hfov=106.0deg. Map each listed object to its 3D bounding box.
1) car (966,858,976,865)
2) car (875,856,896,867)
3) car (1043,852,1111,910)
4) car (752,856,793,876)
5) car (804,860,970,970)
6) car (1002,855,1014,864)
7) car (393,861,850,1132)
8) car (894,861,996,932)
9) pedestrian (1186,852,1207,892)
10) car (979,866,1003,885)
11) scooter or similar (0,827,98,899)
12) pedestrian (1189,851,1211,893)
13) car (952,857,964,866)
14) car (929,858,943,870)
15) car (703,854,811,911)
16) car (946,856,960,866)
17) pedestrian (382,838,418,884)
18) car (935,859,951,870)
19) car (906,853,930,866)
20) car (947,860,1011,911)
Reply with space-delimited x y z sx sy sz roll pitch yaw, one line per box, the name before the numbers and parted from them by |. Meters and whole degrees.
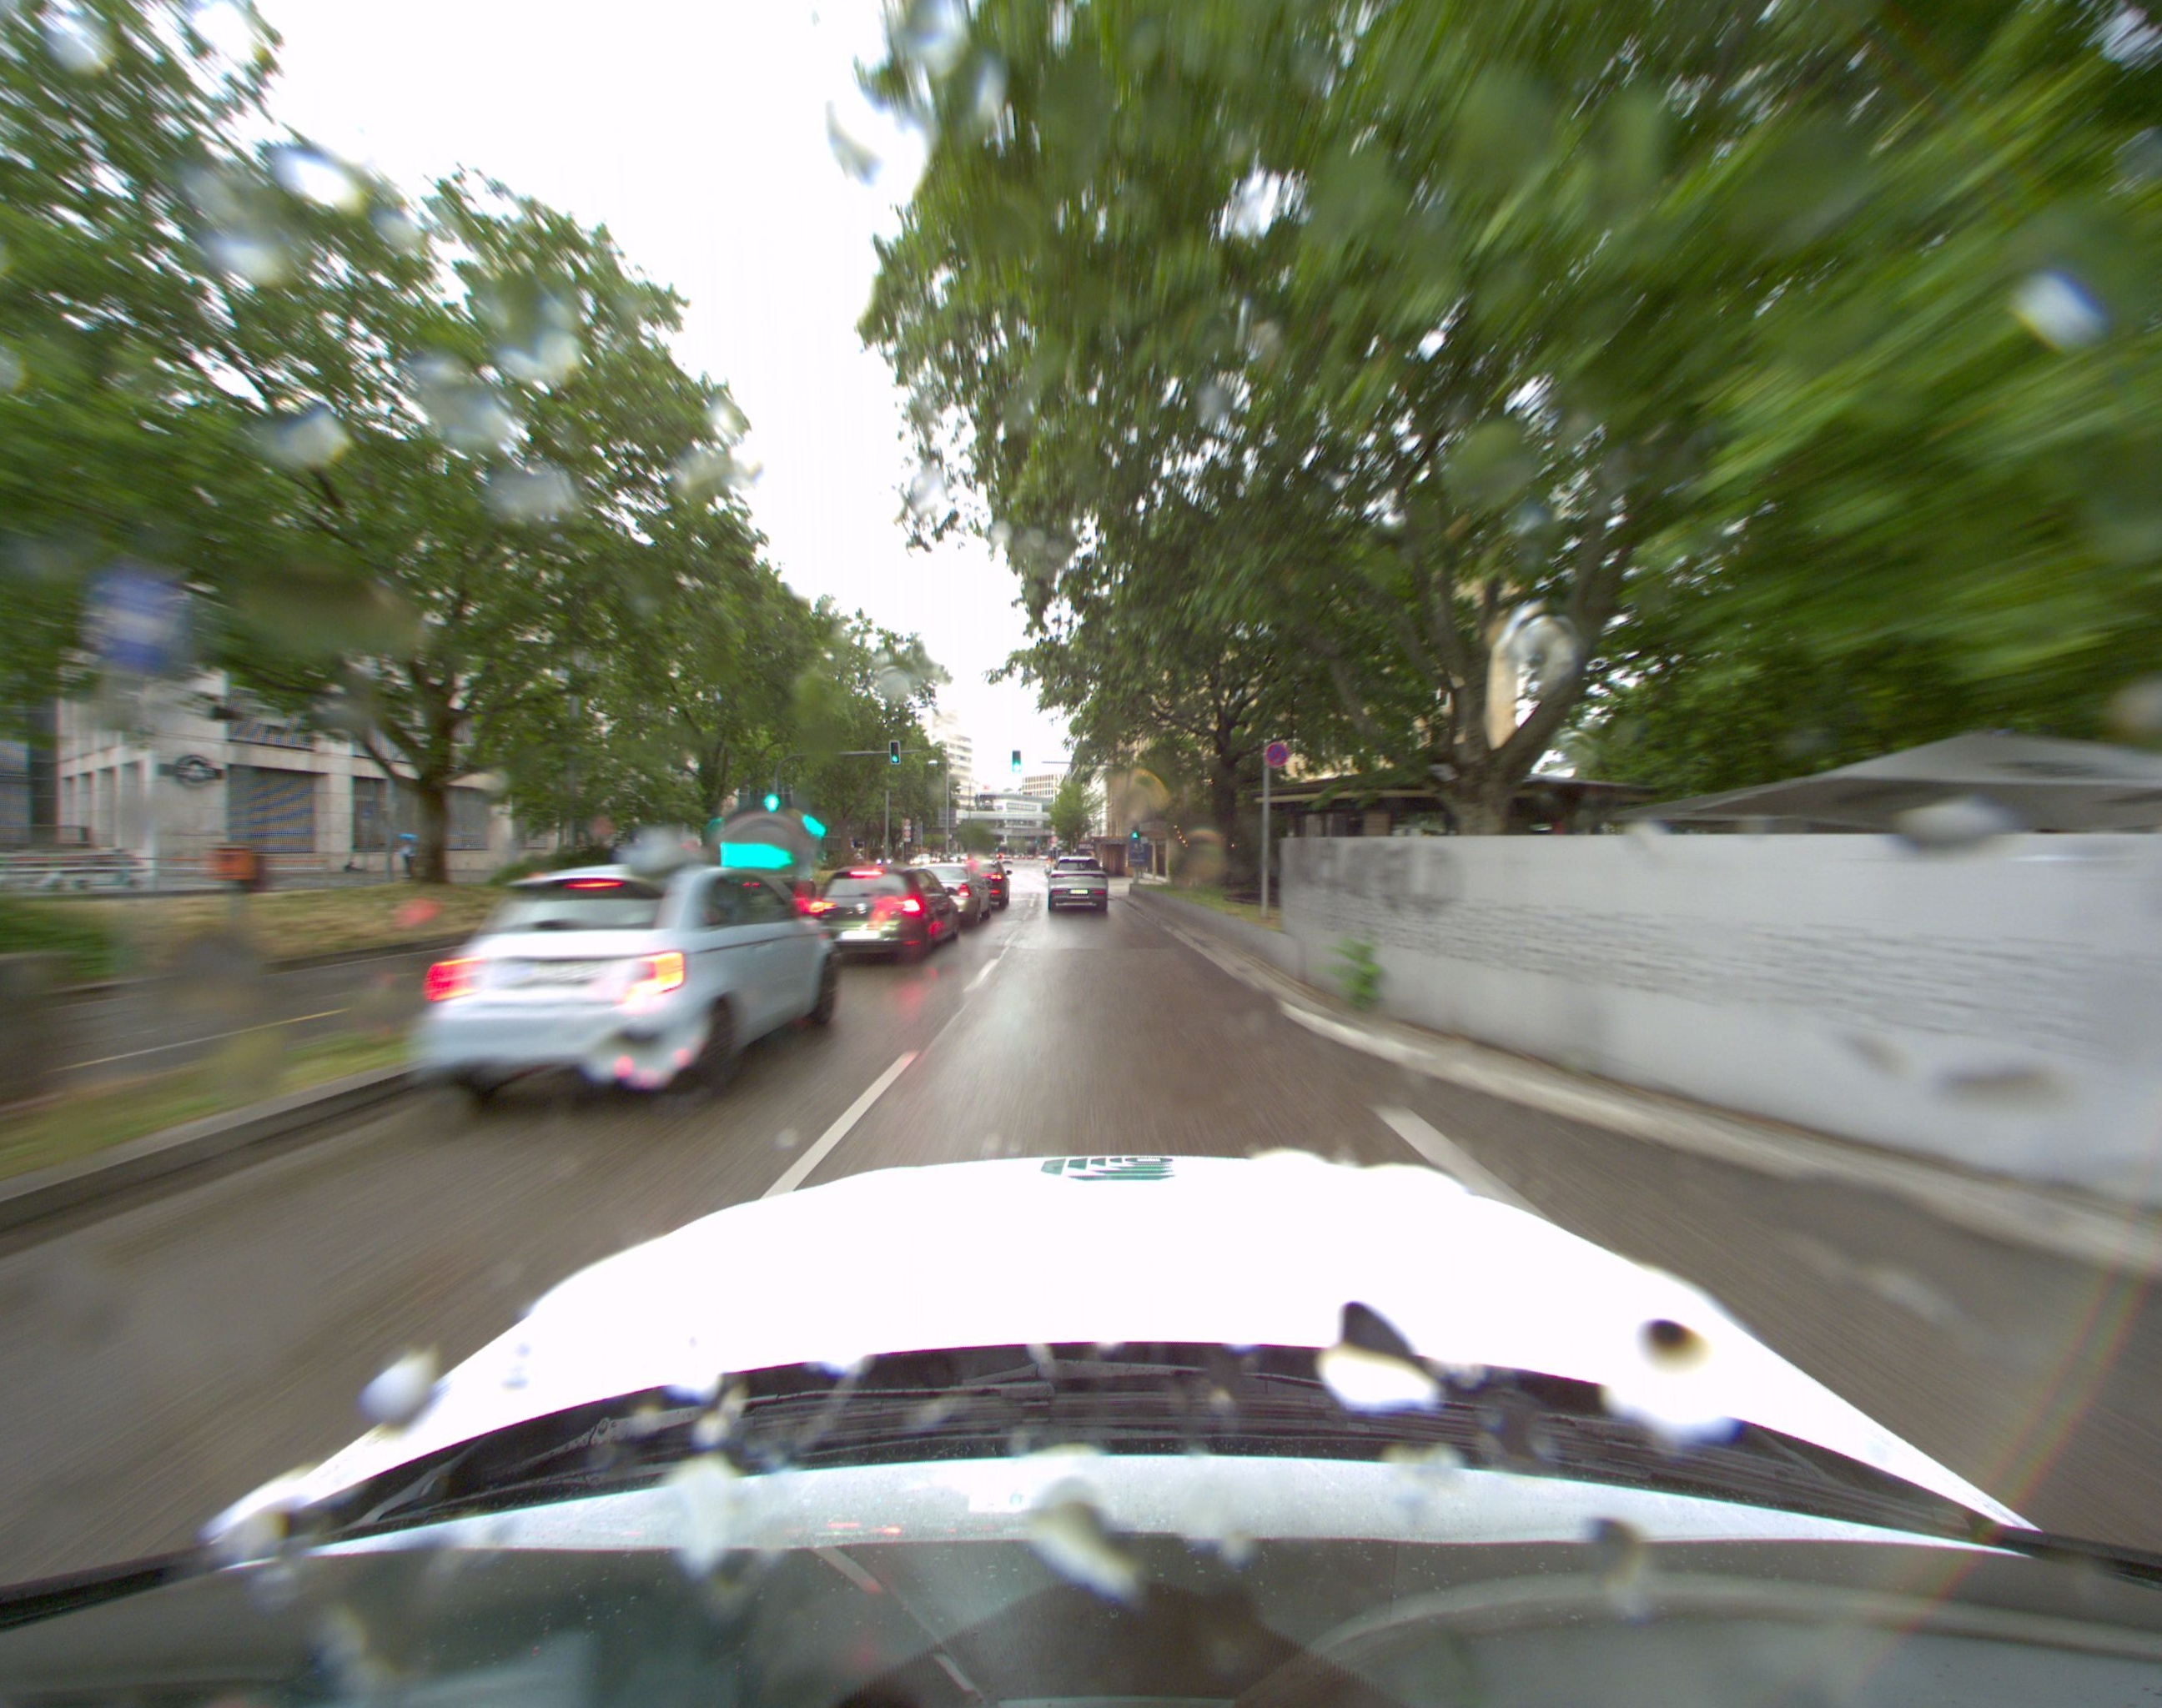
car | -24.017 1.584 177.527 1.790 1.510 4.340 -1 0 -3
car | -25.578 1.027 106.596 1.844 1.366 4.234 1 -1 -3
car | -0.129 0.817 25.925 1.941 1.666 4.344 1 -1 0
car | -26.861 1.063 70.997 1.681 1.642 4.243 0 -1 4
car | -2.938 0.855 13.225 1.686 1.463 4.129 -1 0 0
car | -12.683 0.897 141.497 1.974 1.463 4.340 -1 0 -3
car | -3.123 0.826 6.406 1.585 1.491 3.504 -1 0 0
car | -3.131 0.921 19.555 1.686 1.463 4.344 -1 0 0
pedestrian | 5.153 0.795 36.424 0.855 1.780 0.718 0 -1 2
car | -7.550 1.777 68.677 1.687 1.463 4.340 -1 0 -3
scooter or similar | -30.204 0.257 23.401 3.064 2.014 0.832 0 0 4
pedestrian | 5.205 0.783 35.666 0.855 1.780 0.718 0 -1 2
car | -23.204 1.393 154.203 1.790 1.510 4.340 -1 0 -3
car | -23.348 1.592 131.268 1.790 1.909 4.495 -1 0 -3
car | -9.795 0.805 24.933 1.694 1.619 3.999 0 0 0
car | -21.047 1.134 133.653 1.790 1.510 4.495 -1 0 -3
pedestrian | -30.476 0.306 36.463 0.783 2.013 0.946 2 0 -4
car | -19.594 1.456 115.662 1.790 1.510 4.495 -1 0 -3
car | -19.138 0.697 95.986 2.154 1.463 4.340 -1 0 -3
car | -3.187 0.948 26.223 1.687 1.463 4.340 -1 0 -3
